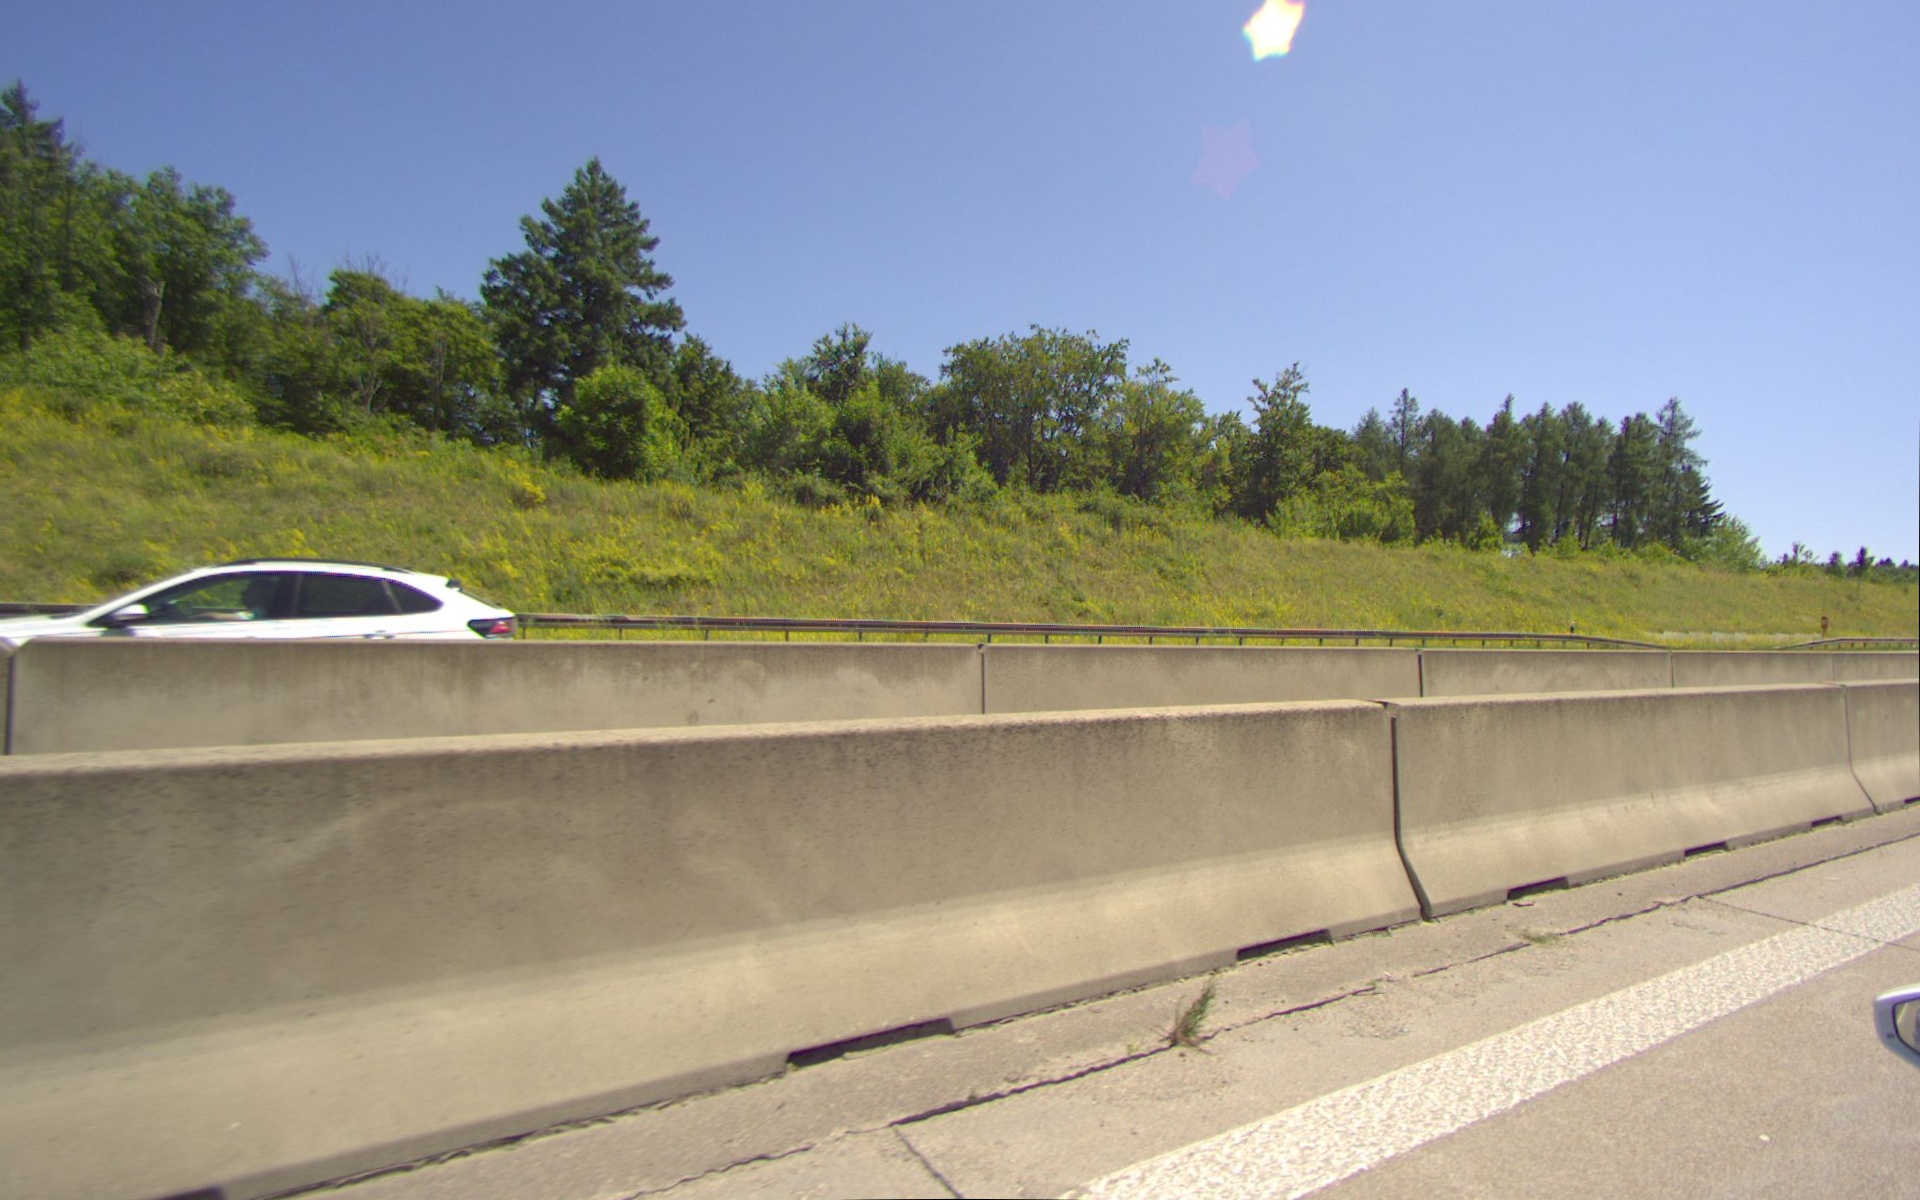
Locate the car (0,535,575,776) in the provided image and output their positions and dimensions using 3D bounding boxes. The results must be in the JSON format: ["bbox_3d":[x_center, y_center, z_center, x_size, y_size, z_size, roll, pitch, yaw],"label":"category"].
[{"bbox_3d":[-5.760,0.399,8.463,4.366,1.626,1.981,2,0,-34],"label":"car"}]
